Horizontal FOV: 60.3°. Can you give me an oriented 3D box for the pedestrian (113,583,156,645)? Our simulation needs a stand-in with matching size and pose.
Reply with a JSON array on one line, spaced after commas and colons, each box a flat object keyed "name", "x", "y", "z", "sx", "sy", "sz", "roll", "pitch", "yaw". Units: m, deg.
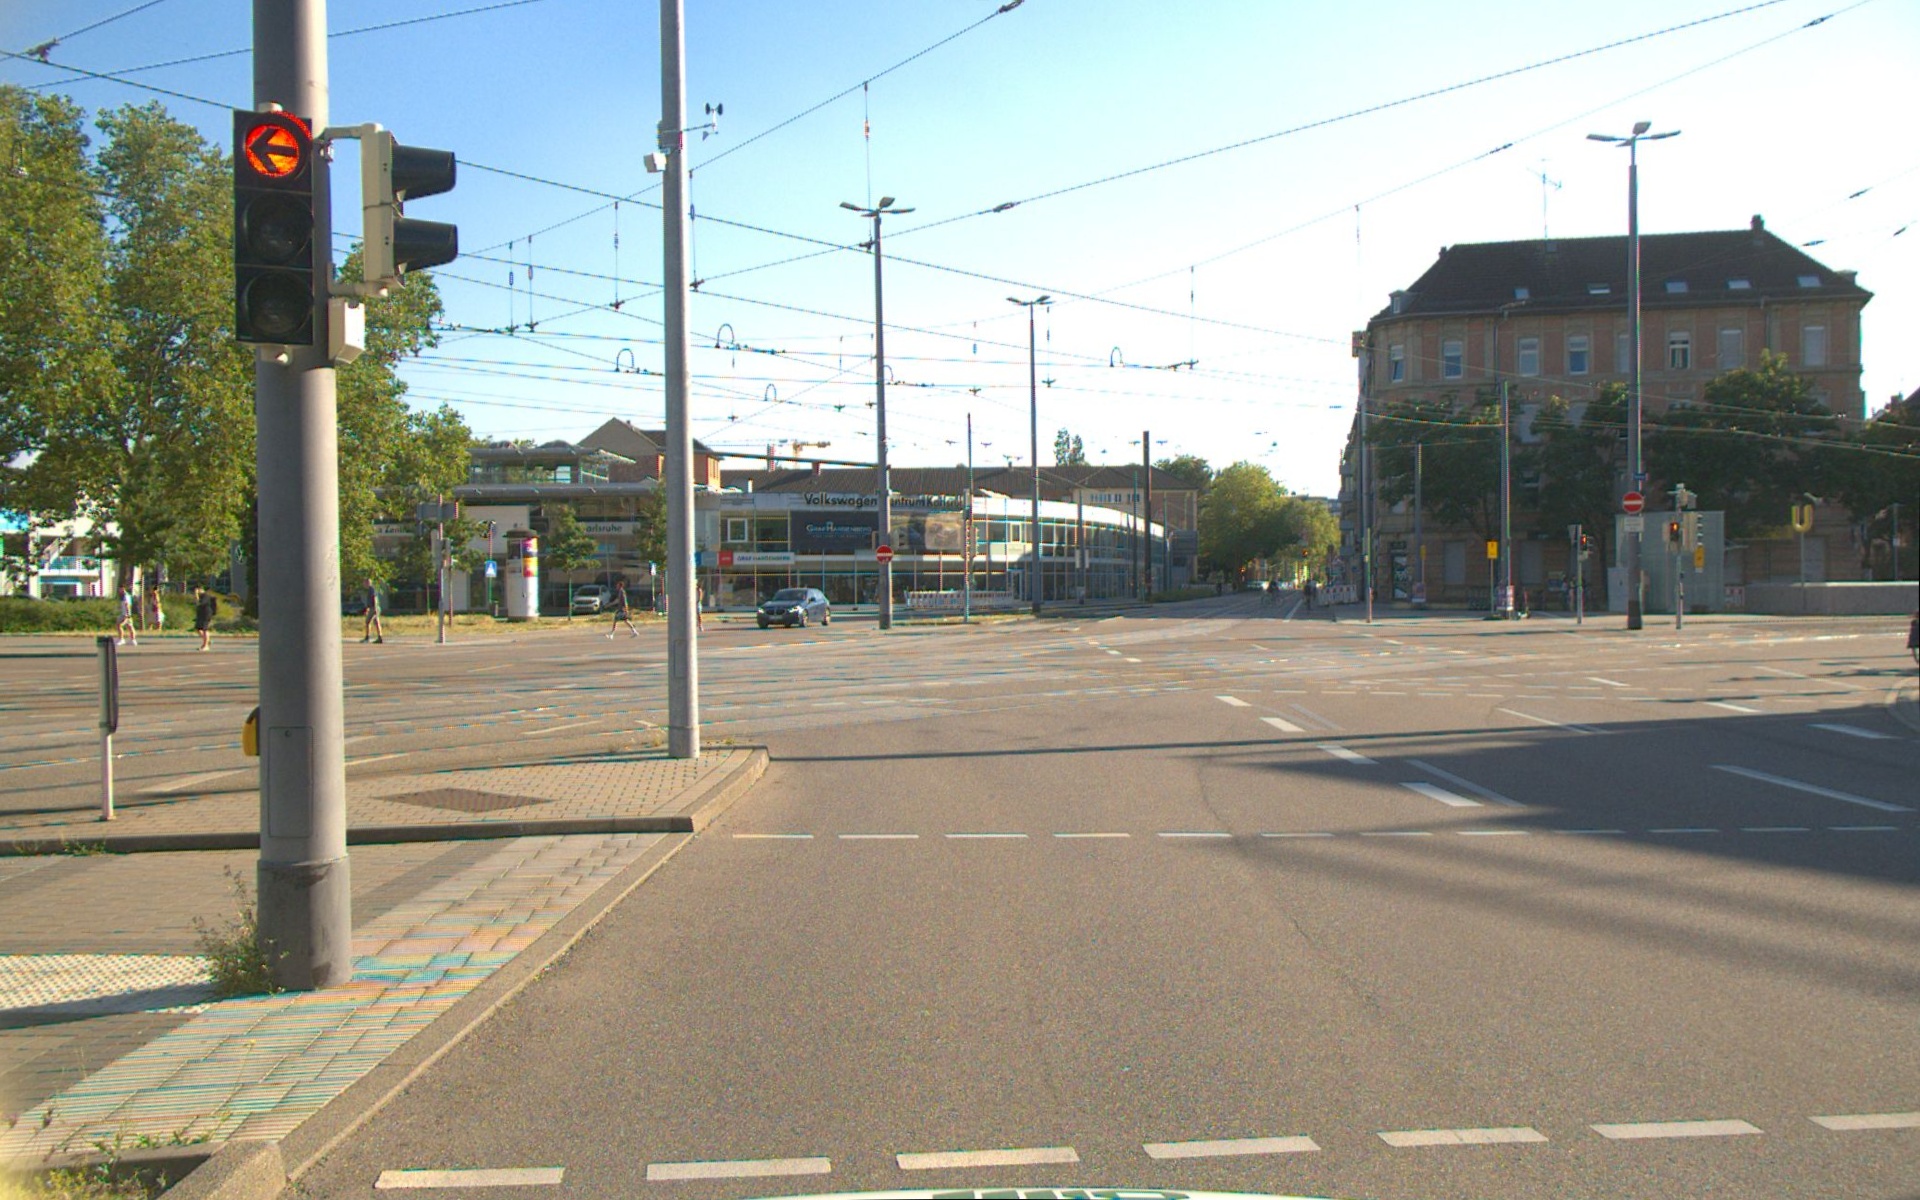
[{"name": "pedestrian", "x": -23.376, "y": 0.396, "z": 46.844, "sx": 0.777, "sy": 1.736, "sz": 0.759, "roll": 1, "pitch": -1, "yaw": 6}]

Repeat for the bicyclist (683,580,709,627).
[{"name": "bicyclist", "x": -9.517, "y": 0.126, "z": 59.675, "sx": 0.585, "sy": 1.644, "sz": 0.823, "roll": 1, "pitch": -1, "yaw": 16}]

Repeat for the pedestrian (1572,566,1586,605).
[{"name": "pedestrian", "x": 32.232, "y": -0.765, "z": 86.168, "sx": 0.589, "sy": 2.049, "sz": 0.647, "roll": -1, "pitch": 0, "yaw": 14}]

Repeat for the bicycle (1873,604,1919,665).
[{"name": "bicycle", "x": 17.629, "y": 0.644, "z": 30.018, "sx": 0.524, "sy": 1.067, "sz": 2.316, "roll": 1, "pitch": 1, "yaw": -9}]

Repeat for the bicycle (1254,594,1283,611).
[{"name": "bicycle", "x": 18.521, "y": 0.145, "z": 99.348, "sx": 1.571, "sy": 0.969, "sz": 0.656, "roll": 1, "pitch": -1, "yaw": 41}]

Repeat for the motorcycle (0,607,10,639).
[{"name": "motorcycle", "x": -28.923, "y": 0.669, "z": 48.506, "sx": 1.748, "sy": 0.930, "sz": 0.675, "roll": 1, "pitch": 0, "yaw": -21}]

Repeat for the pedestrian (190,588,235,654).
[{"name": "pedestrian", "x": -19.937, "y": 0.564, "z": 44.129, "sx": 0.777, "sy": 1.736, "sz": 0.759, "roll": 1, "pitch": -1, "yaw": 6}]

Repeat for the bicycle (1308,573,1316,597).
[{"name": "bicycle", "x": 29.922, "y": -1.274, "z": 140.406, "sx": 0.604, "sy": 2.049, "sz": 2.402, "roll": 1, "pitch": 0, "yaw": 13}]

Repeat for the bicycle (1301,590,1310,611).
[{"name": "bicycle", "x": 16.363, "y": 0.026, "z": 78.383, "sx": 0.401, "sy": 0.958, "sz": 1.847, "roll": 1, "pitch": 0, "yaw": 12}]

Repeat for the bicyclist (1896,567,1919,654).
[{"name": "bicyclist", "x": 17.619, "y": 0.197, "z": 30.112, "sx": 0.505, "sy": 1.584, "sz": 0.945, "roll": 1, "pitch": 0, "yaw": -9}]

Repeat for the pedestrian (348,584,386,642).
[{"name": "pedestrian", "x": -17.801, "y": 0.389, "z": 49.633, "sx": 0.777, "sy": 1.736, "sz": 0.759, "roll": 1, "pitch": -1, "yaw": 6}]

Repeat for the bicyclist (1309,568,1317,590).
[{"name": "bicyclist", "x": 29.917, "y": -1.804, "z": 140.175, "sx": 0.586, "sy": 1.840, "sz": 0.828, "roll": 1, "pitch": -1, "yaw": 12}]

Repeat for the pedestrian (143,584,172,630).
[{"name": "pedestrian", "x": -30.473, "y": 0.252, "z": 62.833, "sx": 0.839, "sy": 1.723, "sz": 0.496, "roll": 1, "pitch": -1, "yaw": -3}]

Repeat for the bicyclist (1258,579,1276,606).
[{"name": "bicyclist", "x": 18.449, "y": -0.461, "z": 99.365, "sx": 0.748, "sy": 1.604, "sz": 0.769, "roll": 0, "pitch": -1, "yaw": 43}]

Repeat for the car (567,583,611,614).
[{"name": "car", "x": -22.143, "y": -0.099, "z": 98.904, "sx": 1.954, "sy": 1.780, "sz": 3.997, "roll": 1, "pitch": 0, "yaw": -4}]

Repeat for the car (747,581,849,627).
[{"name": "car", "x": -5.997, "y": 0.166, "z": 61.639, "sx": 1.954, "sy": 1.613, "sz": 3.996, "roll": 1, "pitch": 0, "yaw": 26}]

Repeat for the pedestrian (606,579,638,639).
[{"name": "pedestrian", "x": -10.971, "y": 0.298, "z": 53.718, "sx": 0.777, "sy": 1.919, "sz": 0.759, "roll": 1, "pitch": -1, "yaw": 6}]

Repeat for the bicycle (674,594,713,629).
[{"name": "bicycle", "x": -9.573, "y": 0.415, "z": 59.487, "sx": 0.599, "sy": 1.210, "sz": 1.870, "roll": 1, "pitch": 0, "yaw": 17}]

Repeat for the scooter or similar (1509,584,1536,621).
[{"name": "scooter or similar", "x": 21.604, "y": 0.099, "z": 63.534, "sx": 0.769, "sy": 1.400, "sz": 1.910, "roll": 1, "pitch": 0, "yaw": 13}]

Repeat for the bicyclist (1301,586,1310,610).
[{"name": "bicyclist", "x": 16.332, "y": -0.079, "z": 78.254, "sx": 0.399, "sy": 1.136, "sz": 0.399, "roll": 1, "pitch": -1, "yaw": 11}]
